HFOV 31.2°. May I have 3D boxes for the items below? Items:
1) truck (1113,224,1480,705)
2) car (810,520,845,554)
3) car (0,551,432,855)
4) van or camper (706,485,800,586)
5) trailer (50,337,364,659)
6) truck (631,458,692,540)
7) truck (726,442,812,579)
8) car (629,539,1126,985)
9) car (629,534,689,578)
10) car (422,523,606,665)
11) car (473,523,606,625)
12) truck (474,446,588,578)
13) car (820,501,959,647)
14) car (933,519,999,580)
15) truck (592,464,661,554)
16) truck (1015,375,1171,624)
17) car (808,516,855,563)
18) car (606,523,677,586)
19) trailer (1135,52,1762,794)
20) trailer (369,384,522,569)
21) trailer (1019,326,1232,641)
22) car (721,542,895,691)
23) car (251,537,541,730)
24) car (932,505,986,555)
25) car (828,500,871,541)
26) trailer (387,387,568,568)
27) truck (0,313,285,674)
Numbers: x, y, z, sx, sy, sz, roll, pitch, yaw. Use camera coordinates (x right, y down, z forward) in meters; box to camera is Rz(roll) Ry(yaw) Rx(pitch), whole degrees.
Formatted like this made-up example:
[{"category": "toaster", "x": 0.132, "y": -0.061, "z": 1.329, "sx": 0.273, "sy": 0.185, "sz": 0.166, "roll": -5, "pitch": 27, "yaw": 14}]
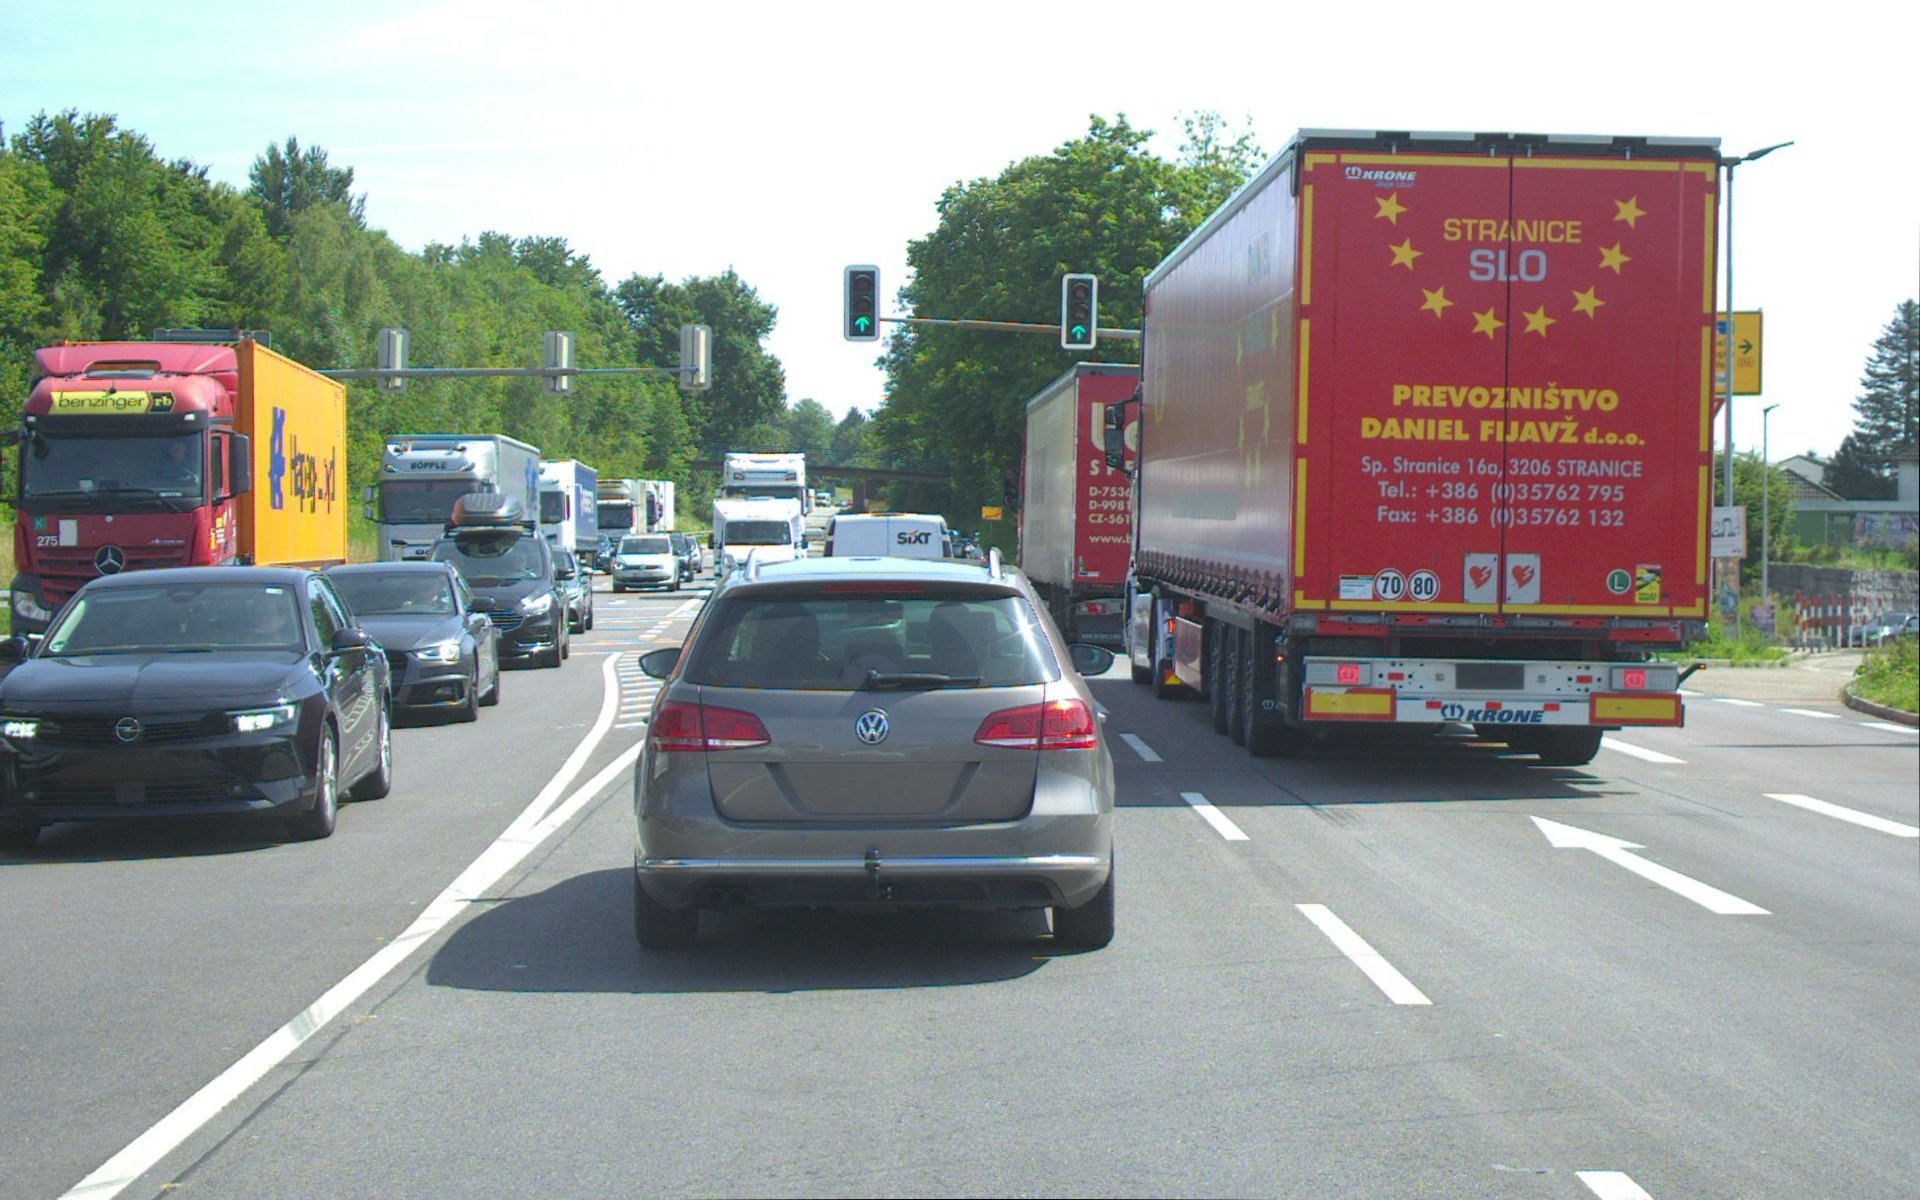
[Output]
[{"category": "truck", "x": 3.179, "y": -1.281, "z": 34.068, "sx": 2.870, "sy": 4.266, "sz": 5.839, "roll": 2, "pitch": 1, "yaw": -1}, {"category": "car", "x": -7.776, "y": -3.687, "z": 201.552, "sx": 1.993, "sy": 2.007, "sz": 4.001, "roll": 0, "pitch": 1, "yaw": -3}, {"category": "car", "x": -4.171, "y": 0.484, "z": 19.237, "sx": 1.711, "sy": 1.438, "sz": 4.379, "roll": -2, "pitch": 1, "yaw": 0}, {"category": "van or camper", "x": -5.456, "y": -1.721, "z": 91.549, "sx": 2.330, "sy": 2.591, "sz": 6.980, "roll": 0, "pitch": 1, "yaw": -2}, {"category": "trailer", "x": -10.385, "y": -1.380, "z": 48.711, "sx": 2.720, "sy": 3.984, "sz": 12.237, "roll": 0, "pitch": 1, "yaw": -5}, {"category": "truck", "x": -15.237, "y": -5.121, "z": 175.846, "sx": 2.829, "sy": 4.102, "sz": 9.684, "roll": 0, "pitch": 1, "yaw": -3}, {"category": "truck", "x": -5.873, "y": -2.713, "z": 105.163, "sx": 2.536, "sy": 4.074, "sz": 6.267, "roll": 0, "pitch": 1, "yaw": -4}, {"category": "car", "x": -0.389, "y": 0.515, "z": 13.718, "sx": 1.691, "sy": 1.508, "sz": 4.001, "roll": 0, "pitch": 1, "yaw": -3}, {"category": "car", "x": -10.265, "y": -1.519, "z": 117.245, "sx": 1.993, "sy": 1.480, "sz": 4.455, "roll": 0, "pitch": 1, "yaw": -5}, {"category": "car", "x": -5.502, "y": -0.124, "z": 42.923, "sx": 1.908, "sy": 1.596, "sz": 4.589, "roll": -1, "pitch": 2, "yaw": -3}, {"category": "car", "x": -7.144, "y": -0.486, "z": 58.734, "sx": 1.921, "sy": 1.596, "sz": 4.589, "roll": -1, "pitch": 2, "yaw": -3}, {"category": "truck", "x": -13.628, "y": -2.792, "z": 109.636, "sx": 3.187, "sy": 4.065, "sz": 6.347, "roll": 0, "pitch": 1, "yaw": -3}, {"category": "car", "x": -1.014, "y": -0.379, "z": 47.546, "sx": 1.770, "sy": 1.930, "sz": 3.978, "roll": 0, "pitch": 1, "yaw": -3}, {"category": "car", "x": 0.195, "y": -1.694, "z": 114.915, "sx": 1.993, "sy": 2.007, "sz": 4.001, "roll": 0, "pitch": 1, "yaw": -3}, {"category": "truck", "x": -15.158, "y": -4.113, "z": 156.926, "sx": 2.728, "sy": 3.985, "sz": 9.621, "roll": 0, "pitch": 1, "yaw": -3}, {"category": "truck", "x": 2.249, "y": -1.713, "z": 59.711, "sx": 2.406, "sy": 4.113, "sz": 5.521, "roll": 0, "pitch": 1, "yaw": -1}, {"category": "car", "x": -5.604, "y": -2.628, "z": 149.299, "sx": 1.993, "sy": 2.007, "sz": 4.001, "roll": 0, "pitch": 1, "yaw": -3}, {"category": "car", "x": -9.292, "y": -1.352, "z": 100.608, "sx": 1.843, "sy": 1.726, "sz": 4.589, "roll": 2, "pitch": 2, "yaw": -3}, {"category": "trailer", "x": 3.259, "y": -1.177, "z": 27.173, "sx": 2.839, "sy": 4.350, "sz": 13.168, "roll": 2, "pitch": 1, "yaw": 0}, {"category": "trailer", "x": -11.776, "y": -2.789, "z": 79.155, "sx": 2.645, "sy": 4.091, "sz": 6.181, "roll": 0, "pitch": 1, "yaw": 0}, {"category": "trailer", "x": 2.339, "y": -1.689, "z": 52.742, "sx": 2.395, "sy": 4.228, "sz": 13.079, "roll": 0, "pitch": 1, "yaw": -1}, {"category": "car", "x": -1.663, "y": 0.130, "z": 37.136, "sx": 1.770, "sy": 1.508, "sz": 4.001, "roll": 0, "pitch": 1, "yaw": -3}, {"category": "car", "x": -4.952, "y": 0.234, "z": 30.773, "sx": 1.861, "sy": 1.519, "sz": 4.589, "roll": -1, "pitch": 2, "yaw": -1}, {"category": "car", "x": -0.051, "y": -2.822, "z": 139.075, "sx": 1.993, "sy": 2.007, "sz": 4.001, "roll": 0, "pitch": 1, "yaw": -3}, {"category": "car", "x": -5.382, "y": -3.864, "z": 167.409, "sx": 1.993, "sy": 2.007, "sz": 4.001, "roll": 0, "pitch": 1, "yaw": -3}, {"category": "trailer", "x": -11.853, "y": -2.946, "z": 85.746, "sx": 2.691, "sy": 4.133, "sz": 13.881, "roll": 0, "pitch": 1, "yaw": -1}, {"category": "truck", "x": -9.803, "y": -1.236, "z": 41.071, "sx": 2.720, "sy": 3.984, "sz": 6.058, "roll": 0, "pitch": 1, "yaw": -5}]
